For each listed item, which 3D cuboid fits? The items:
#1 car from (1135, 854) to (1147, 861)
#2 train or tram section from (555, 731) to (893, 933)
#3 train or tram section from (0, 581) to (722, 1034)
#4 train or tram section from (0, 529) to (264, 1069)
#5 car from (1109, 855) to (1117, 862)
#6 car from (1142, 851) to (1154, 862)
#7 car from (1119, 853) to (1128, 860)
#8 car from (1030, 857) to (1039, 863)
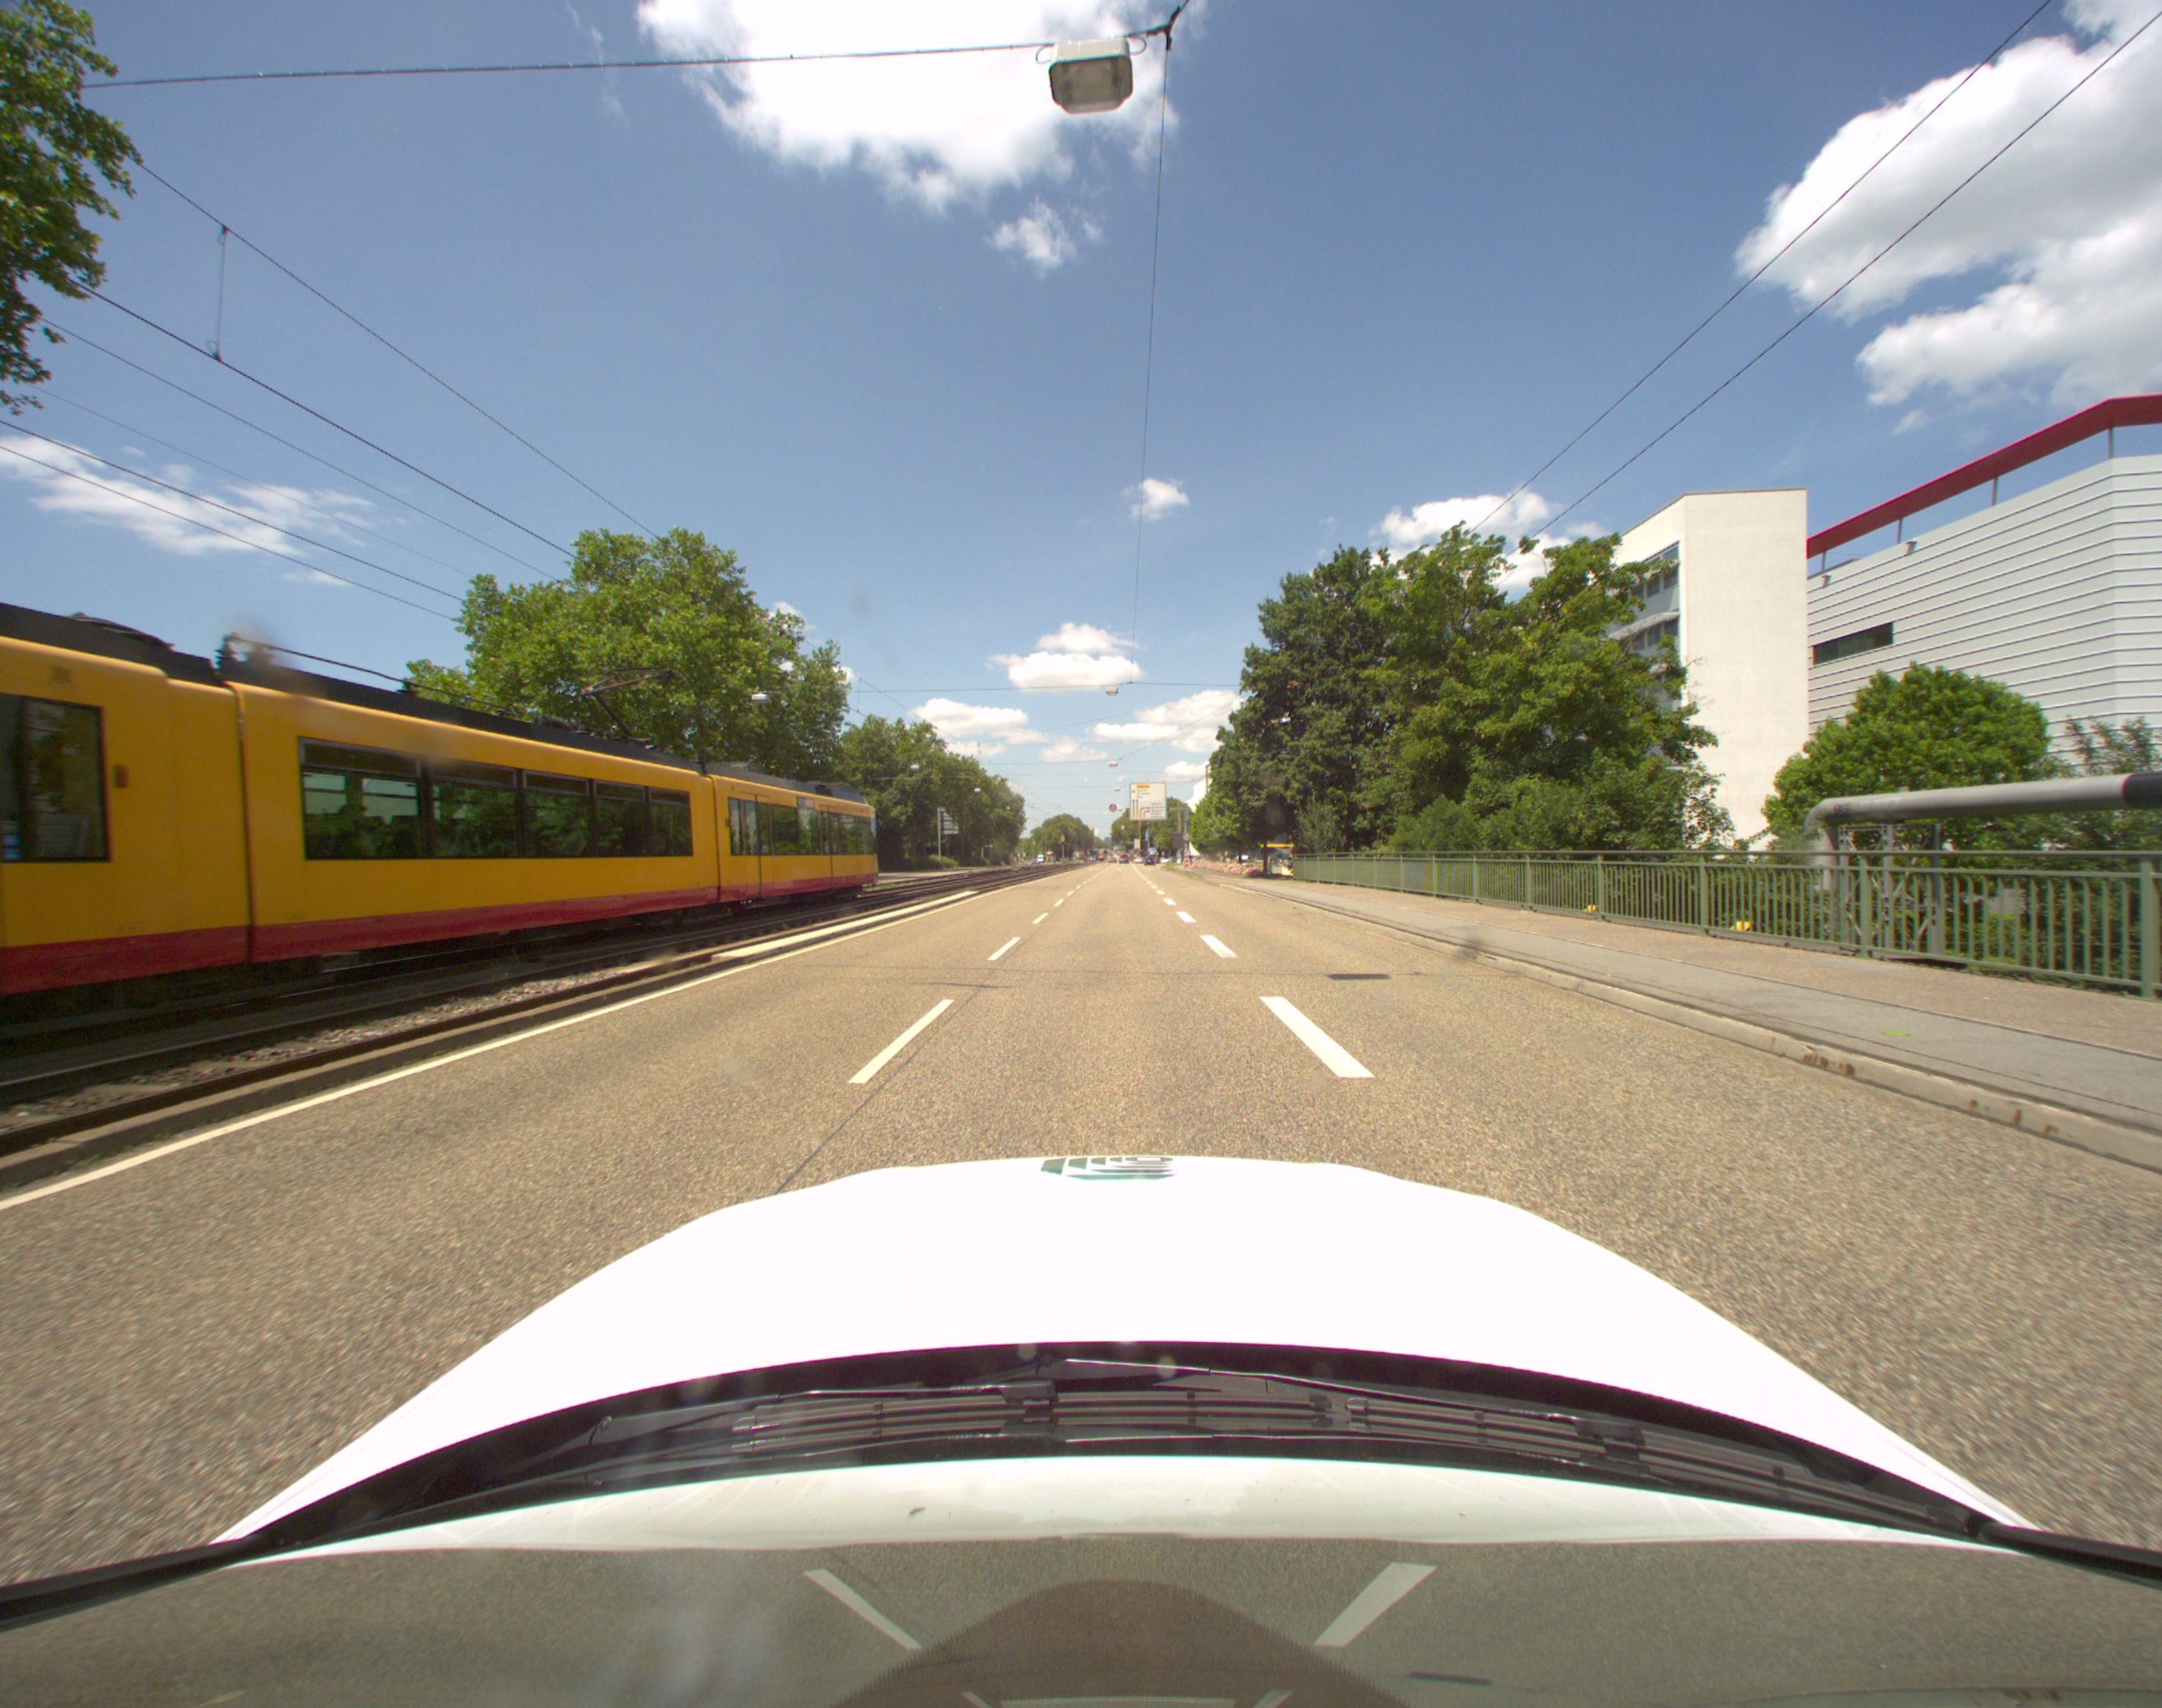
[{"bbox_3d":[15.058,0.876,205.505,1.670,1.550,4.006,1,0,25],"label":"car"},{"bbox_3d":[-9.070,-0.481,23.969,3.025,4.140,13.993,-1,0,3],"label":"train or tram section"},{"bbox_3d":[-9.584,-0.426,12.662,3.026,4.148,10.239,-1,0,2],"label":"train or tram section"},{"bbox_3d":[-9.955,-0.379,1.449,3.026,4.154,13.487,-1,0,2],"label":"train or tram section"},{"bbox_3d":[8.087,1.112,205.391,1.836,1.550,3.777,1,0,1],"label":"car"},{"bbox_3d":[11.535,0.437,140.321,1.892,1.805,3.979,1,0,2],"label":"car"},{"bbox_3d":[9.003,0.580,174.070,1.869,1.539,3.778,1,0,2],"label":"car"},{"bbox_3d":[-11.121,1.423,195.130,1.639,1.550,4.217,1,0,1],"label":"car"}]
